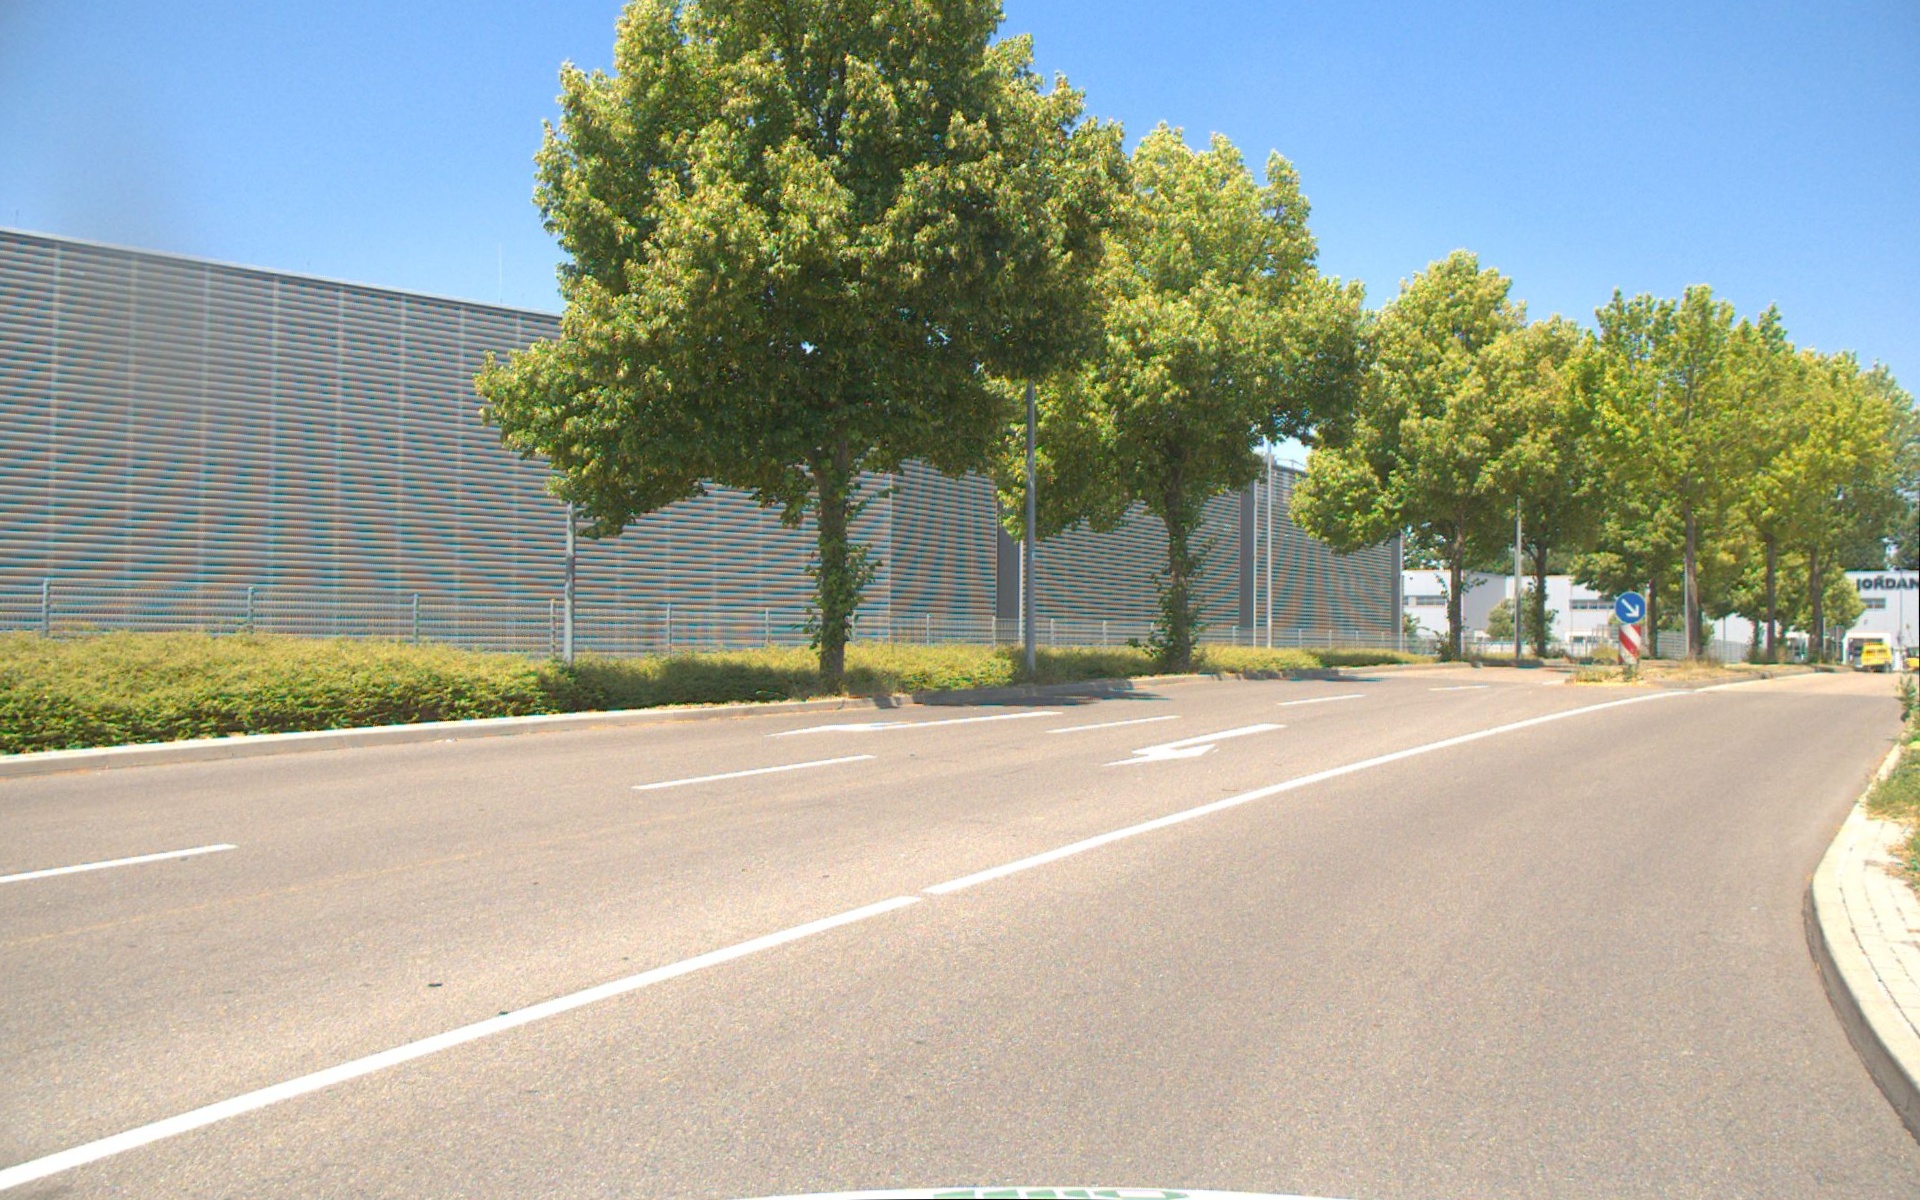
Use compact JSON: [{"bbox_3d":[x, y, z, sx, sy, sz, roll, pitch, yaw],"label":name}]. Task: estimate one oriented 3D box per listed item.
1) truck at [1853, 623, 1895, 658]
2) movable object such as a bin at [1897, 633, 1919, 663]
[{"bbox_3d":[84.845,3.727,153.603,2.880,2.936,5.806,-2,0,24],"label":"truck"},{"bbox_3d":[89.871,4.322,150.456,7.414,2.543,3.645,-2,0,42],"label":"movable object such as a bin"}]
